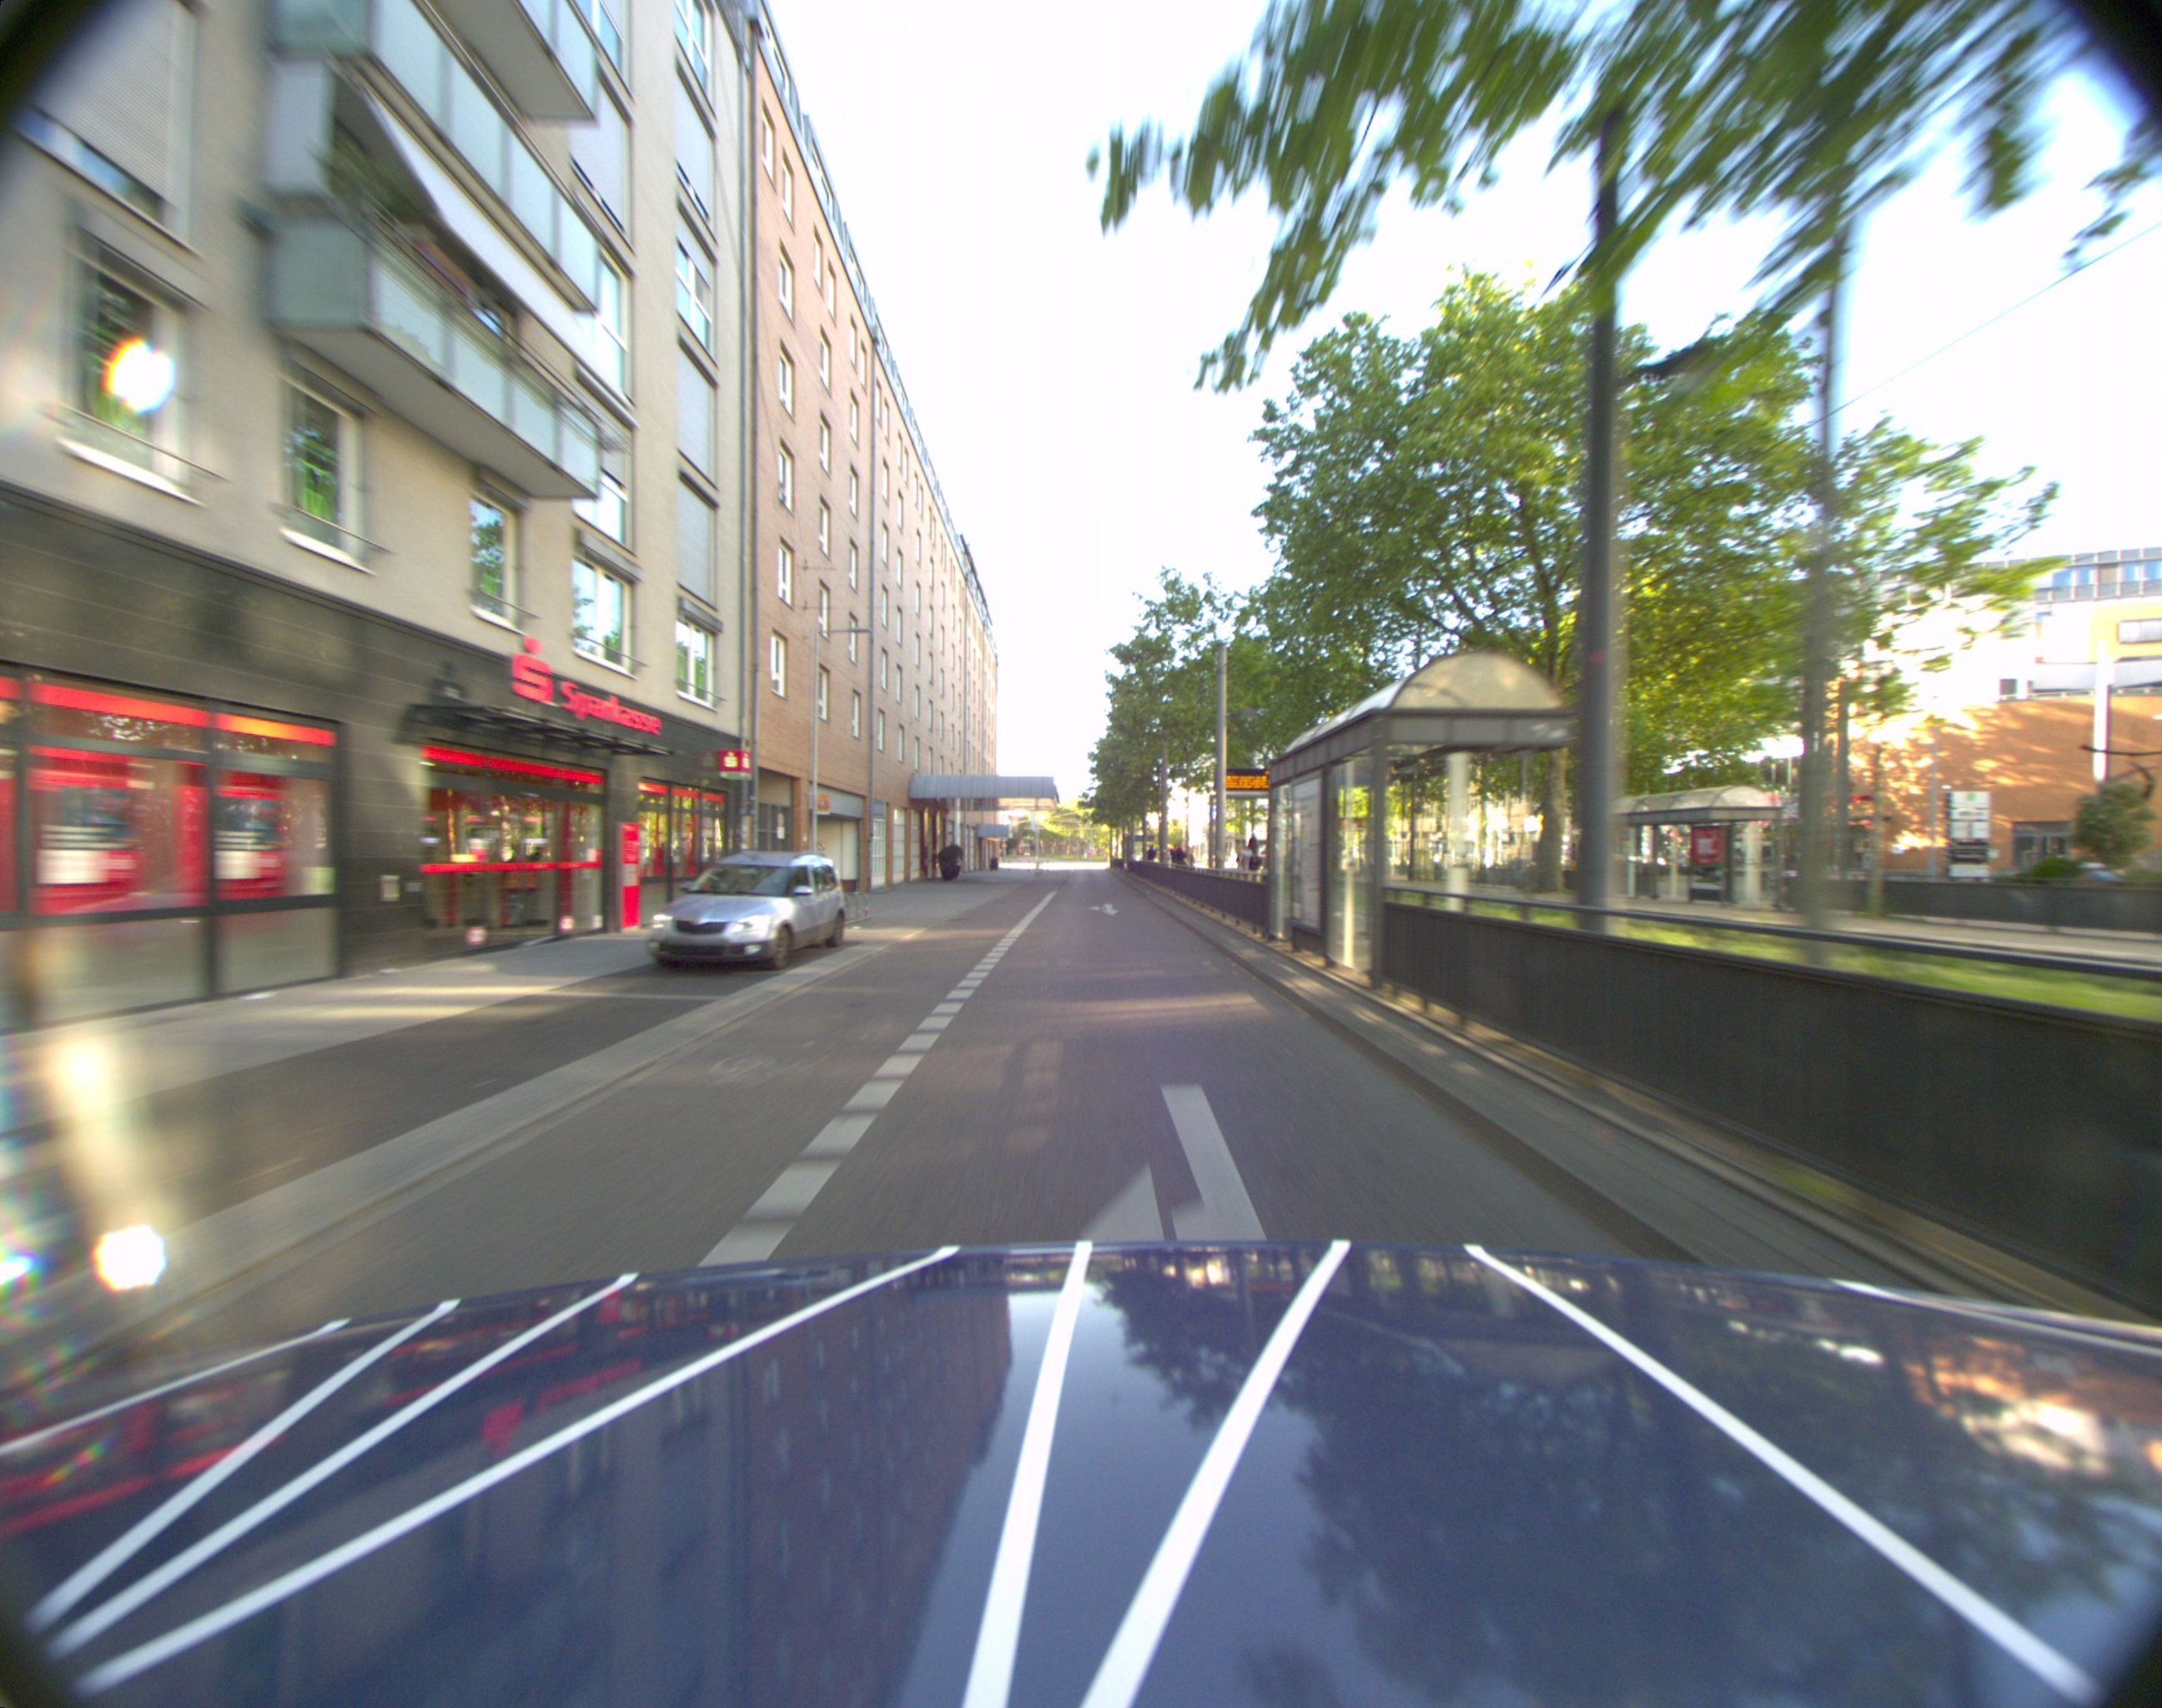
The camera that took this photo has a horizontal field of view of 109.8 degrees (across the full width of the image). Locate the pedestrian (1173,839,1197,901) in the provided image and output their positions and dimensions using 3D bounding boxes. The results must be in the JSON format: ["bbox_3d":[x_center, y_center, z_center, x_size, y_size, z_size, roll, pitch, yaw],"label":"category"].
[{"bbox_3d":[3.168,0.472,23.120,0.647,1.876,0.661,0,1,0],"label":"pedestrian"}]

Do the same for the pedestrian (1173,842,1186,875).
[{"bbox_3d":[5.411,0.252,41.834,0.648,1.829,0.638,0,1,0],"label":"pedestrian"}]

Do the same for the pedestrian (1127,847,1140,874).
[{"bbox_3d":[3.341,0.414,48.386,0.742,1.680,0.645,-2,1,-1],"label":"pedestrian"}]

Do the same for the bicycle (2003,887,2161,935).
[{"bbox_3d":[25.024,1.378,18.979,0.802,0.991,2.585,-1,0,-2],"label":"bicycle"}]

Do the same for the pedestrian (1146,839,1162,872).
[{"bbox_3d":[3.938,0.088,41.036,0.708,1.791,0.826,0,1,-7],"label":"pedestrian"}]

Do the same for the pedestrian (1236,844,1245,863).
[{"bbox_3d":[14.768,-0.013,70.280,0.656,1.744,0.676,0,1,-8],"label":"pedestrian"}]

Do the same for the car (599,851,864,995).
[{"bbox_3d":[-4.798,0.812,11.223,1.837,1.613,4.284,3,1,1],"label":"car"}]

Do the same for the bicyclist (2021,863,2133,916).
[{"bbox_3d":[25.005,0.868,19.110,1.007,1.243,1.374,-1,0,-2],"label":"bicyclist"}]

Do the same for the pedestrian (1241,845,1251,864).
[{"bbox_3d":[15.104,0.037,69.519,0.686,1.686,0.698,0,1,-8],"label":"pedestrian"}]

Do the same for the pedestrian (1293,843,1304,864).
[{"bbox_3d":[15.614,-0.015,54.572,0.554,1.489,0.550,0,1,-11],"label":"pedestrian"}]

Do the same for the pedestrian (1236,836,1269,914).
[{"bbox_3d":[4.169,0.505,18.497,0.647,1.861,0.753,0,1,1],"label":"pedestrian"}]

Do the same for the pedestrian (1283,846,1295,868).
[{"bbox_3d":[15.618,0.196,57.072,0.669,1.632,0.668,0,1,-11],"label":"pedestrian"}]

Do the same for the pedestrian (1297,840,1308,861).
[{"bbox_3d":[15.639,-0.256,53.639,0.571,1.477,0.607,0,1,-11],"label":"pedestrian"}]

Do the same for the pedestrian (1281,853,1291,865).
[{"bbox_3d":[17.085,0.409,63.322,0.723,1.034,0.698,0,1,8],"label":"pedestrian"}]

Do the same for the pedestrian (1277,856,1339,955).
[{"bbox_3d":[3.144,0.689,10.581,0.628,1.312,0.801,0,1,1],"label":"pedestrian"}]

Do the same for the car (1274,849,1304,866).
[{"bbox_3d":[21.259,0.321,77.735,1.998,1.630,4.000,1,1,2],"label":"car"}]

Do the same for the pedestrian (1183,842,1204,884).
[{"bbox_3d":[4.584,0.370,31.068,0.731,1.692,0.863,-1,1,2],"label":"pedestrian"}]

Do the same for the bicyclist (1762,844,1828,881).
[{"bbox_3d":[25.227,0.280,26.866,1.007,1.243,1.374,-1,0,-2],"label":"bicyclist"}]

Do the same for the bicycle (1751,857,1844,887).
[{"bbox_3d":[25.229,0.604,26.834,0.802,0.991,2.585,-1,0,-2],"label":"bicycle"}]
